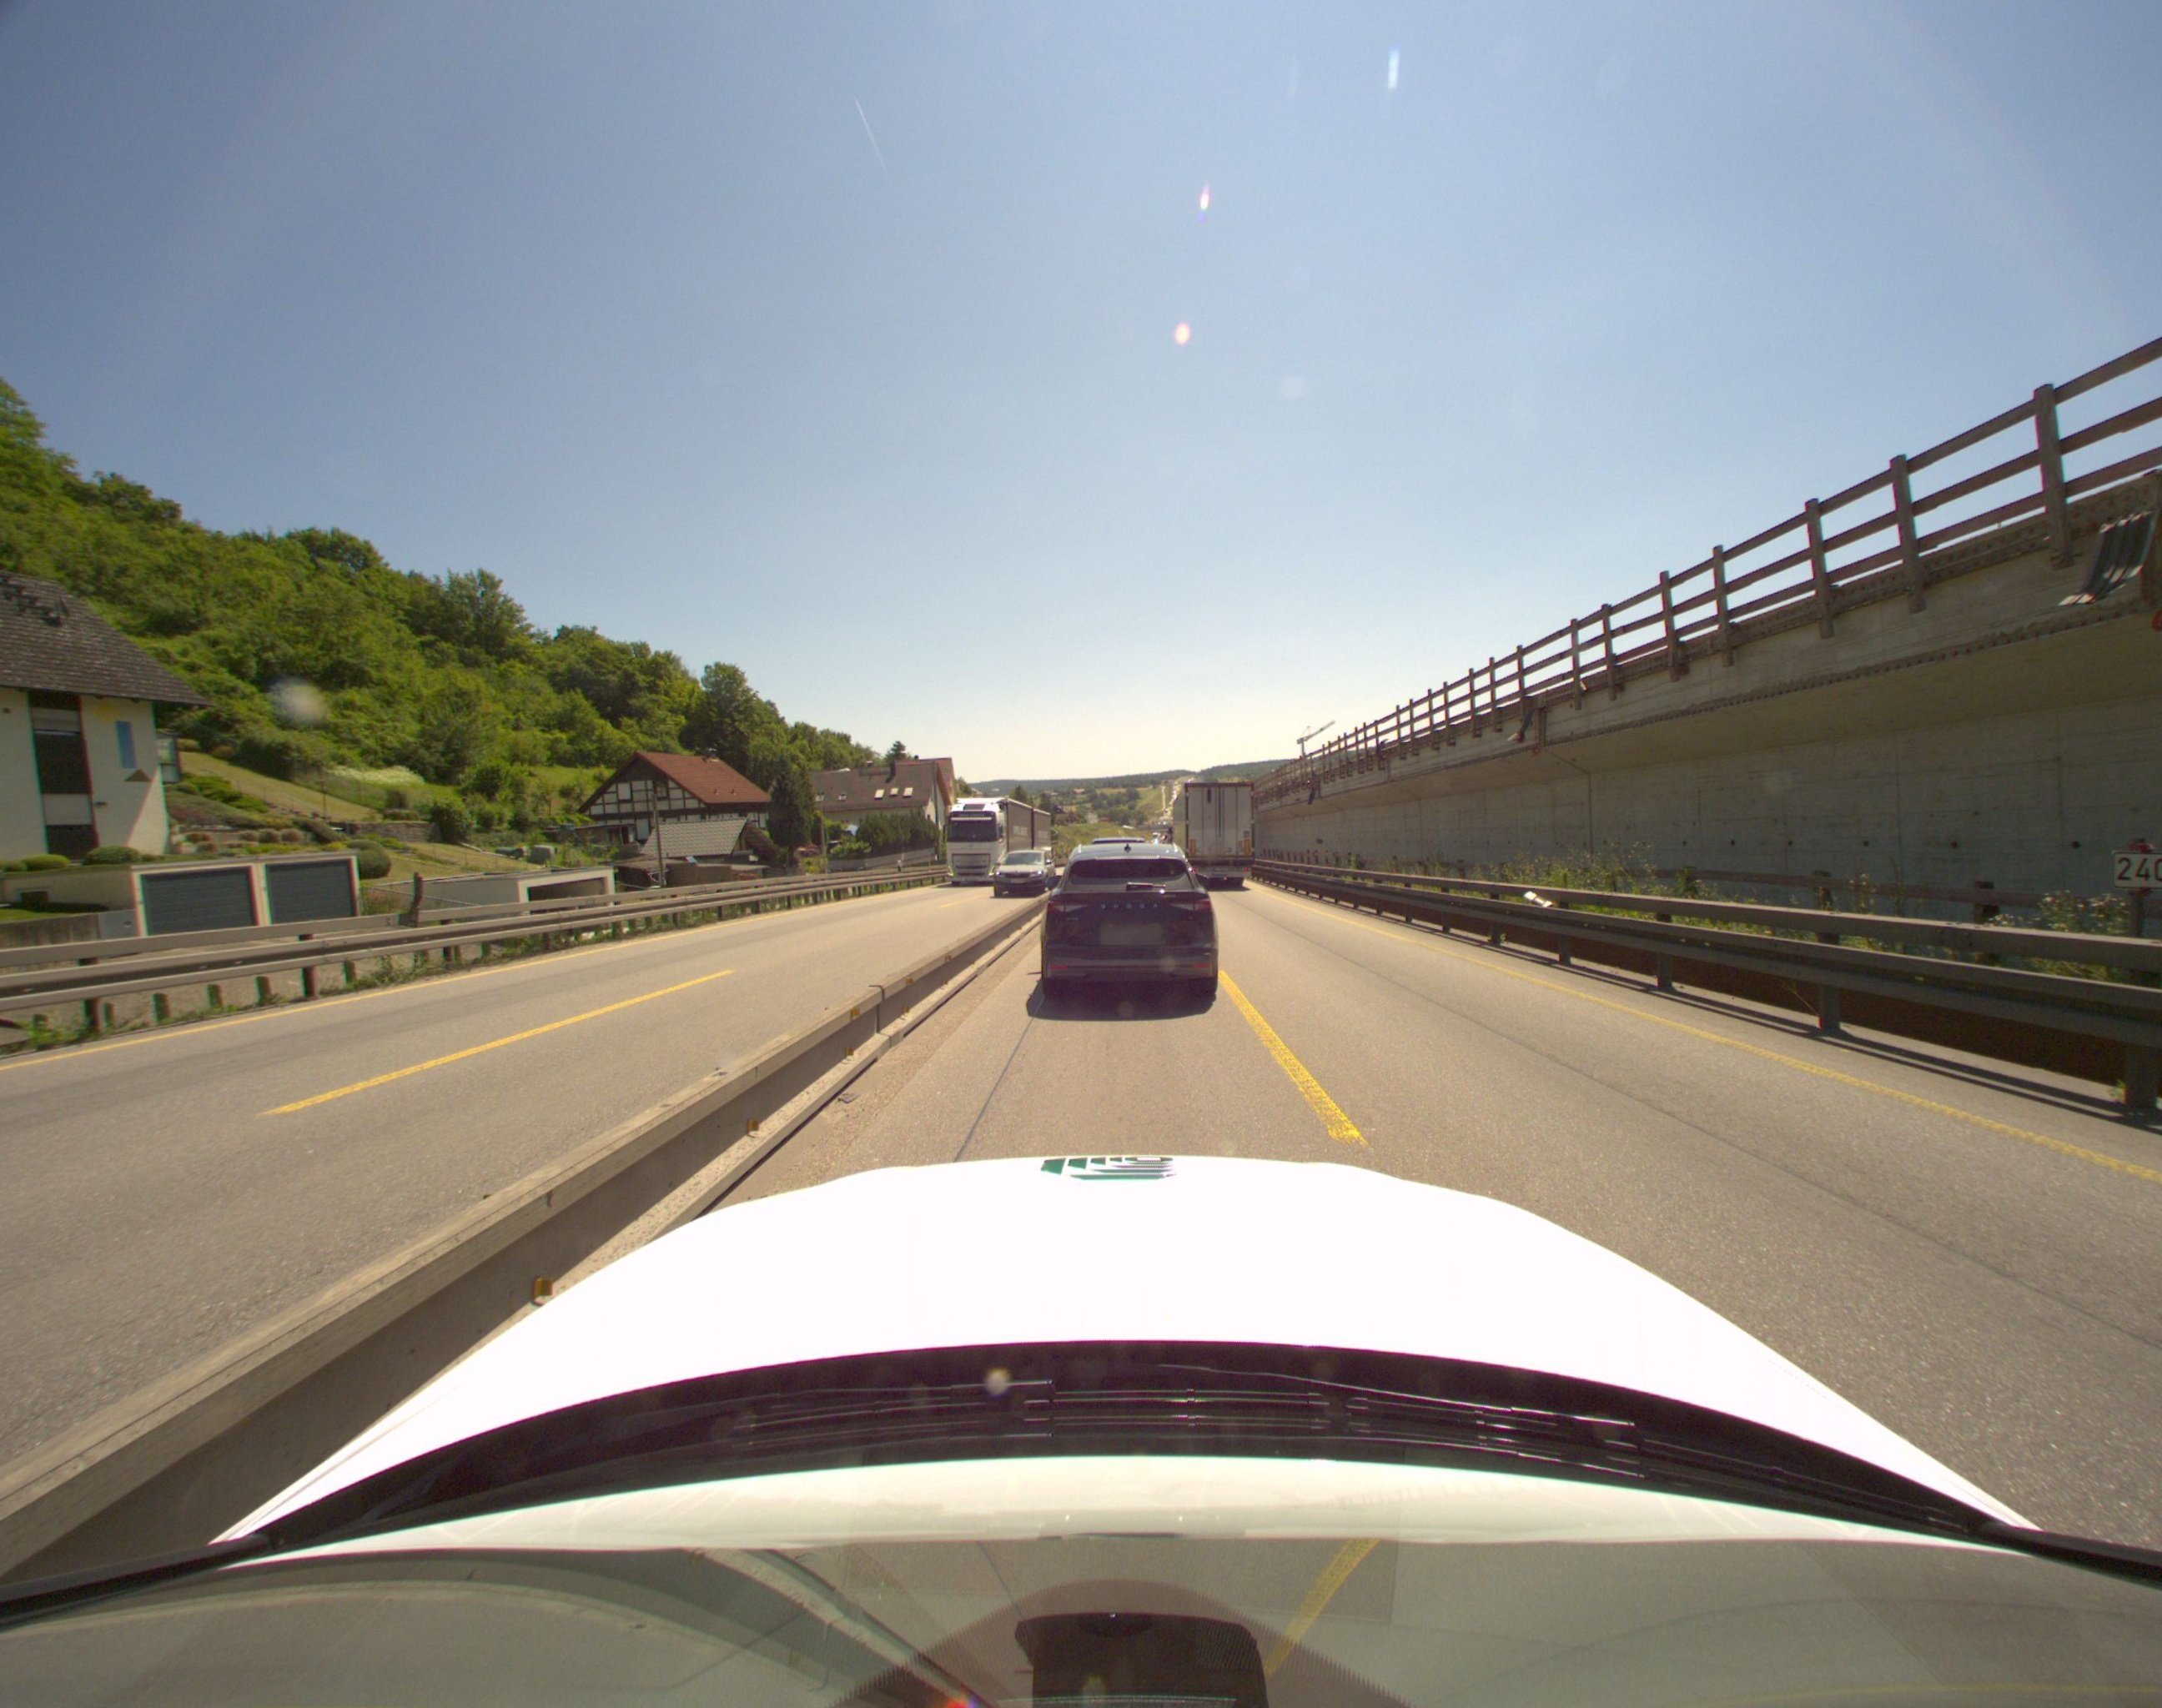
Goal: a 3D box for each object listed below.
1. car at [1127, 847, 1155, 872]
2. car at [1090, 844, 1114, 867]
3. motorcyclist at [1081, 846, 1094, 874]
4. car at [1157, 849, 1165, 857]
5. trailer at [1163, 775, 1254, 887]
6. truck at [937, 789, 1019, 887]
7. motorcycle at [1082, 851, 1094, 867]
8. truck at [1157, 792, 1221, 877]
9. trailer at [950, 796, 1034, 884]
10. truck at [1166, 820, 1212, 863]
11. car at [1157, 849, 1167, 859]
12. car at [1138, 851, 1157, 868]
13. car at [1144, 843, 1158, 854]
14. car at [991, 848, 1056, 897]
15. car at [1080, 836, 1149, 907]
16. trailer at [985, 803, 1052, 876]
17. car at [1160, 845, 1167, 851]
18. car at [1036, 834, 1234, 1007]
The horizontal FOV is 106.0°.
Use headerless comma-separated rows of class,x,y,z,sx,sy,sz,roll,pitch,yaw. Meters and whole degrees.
car,4.071,0.356,55.462,1.700,1.622,4.002,0,1,1
car,1.950,0.134,73.234,2.014,1.960,4.902,-1,-1,3
motorcyclist,0.431,0.410,56.182,0.850,1.855,0.984,-1,0,2
car,17.116,-0.188,174.005,1.692,1.728,3.843,-1,-1,6
trailer,5.289,-0.782,35.847,2.522,4.127,11.552,-1,-1,2
truck,-4.757,-0.718,38.637,2.738,4.283,4.966,-1,0,6
motorcycle,0.477,0.334,56.379,0.783,1.080,1.914,-1,0,3
truck,5.498,-0.856,42.697,2.504,4.025,8.240,-1,-1,2
trailer,-4.415,-0.711,42.173,2.744,4.070,8.019,0,1,5
truck,8.798,-0.853,67.598,3.179,3.191,12.826,-1,-1,5
car,14.903,-0.005,149.920,1.692,1.728,3.843,-1,-1,6
car,6.538,0.522,80.481,1.700,1.622,4.002,0,1,1
car,10.733,-0.863,125.440,1.985,1.585,3.838,-1,-1,2
car,-1.962,0.630,28.916,1.852,1.611,4.070,-1,-1,2
car,0.899,0.436,23.673,1.702,1.881,3.997,0,1,-2
trailer,-3.690,-0.882,50.462,2.744,4.070,8.646,0,1,4
car,22.800,-1.661,225.168,1.692,1.728,3.843,-1,-1,6
car,0.445,0.638,9.546,1.838,1.586,3.904,0,-1,-2
